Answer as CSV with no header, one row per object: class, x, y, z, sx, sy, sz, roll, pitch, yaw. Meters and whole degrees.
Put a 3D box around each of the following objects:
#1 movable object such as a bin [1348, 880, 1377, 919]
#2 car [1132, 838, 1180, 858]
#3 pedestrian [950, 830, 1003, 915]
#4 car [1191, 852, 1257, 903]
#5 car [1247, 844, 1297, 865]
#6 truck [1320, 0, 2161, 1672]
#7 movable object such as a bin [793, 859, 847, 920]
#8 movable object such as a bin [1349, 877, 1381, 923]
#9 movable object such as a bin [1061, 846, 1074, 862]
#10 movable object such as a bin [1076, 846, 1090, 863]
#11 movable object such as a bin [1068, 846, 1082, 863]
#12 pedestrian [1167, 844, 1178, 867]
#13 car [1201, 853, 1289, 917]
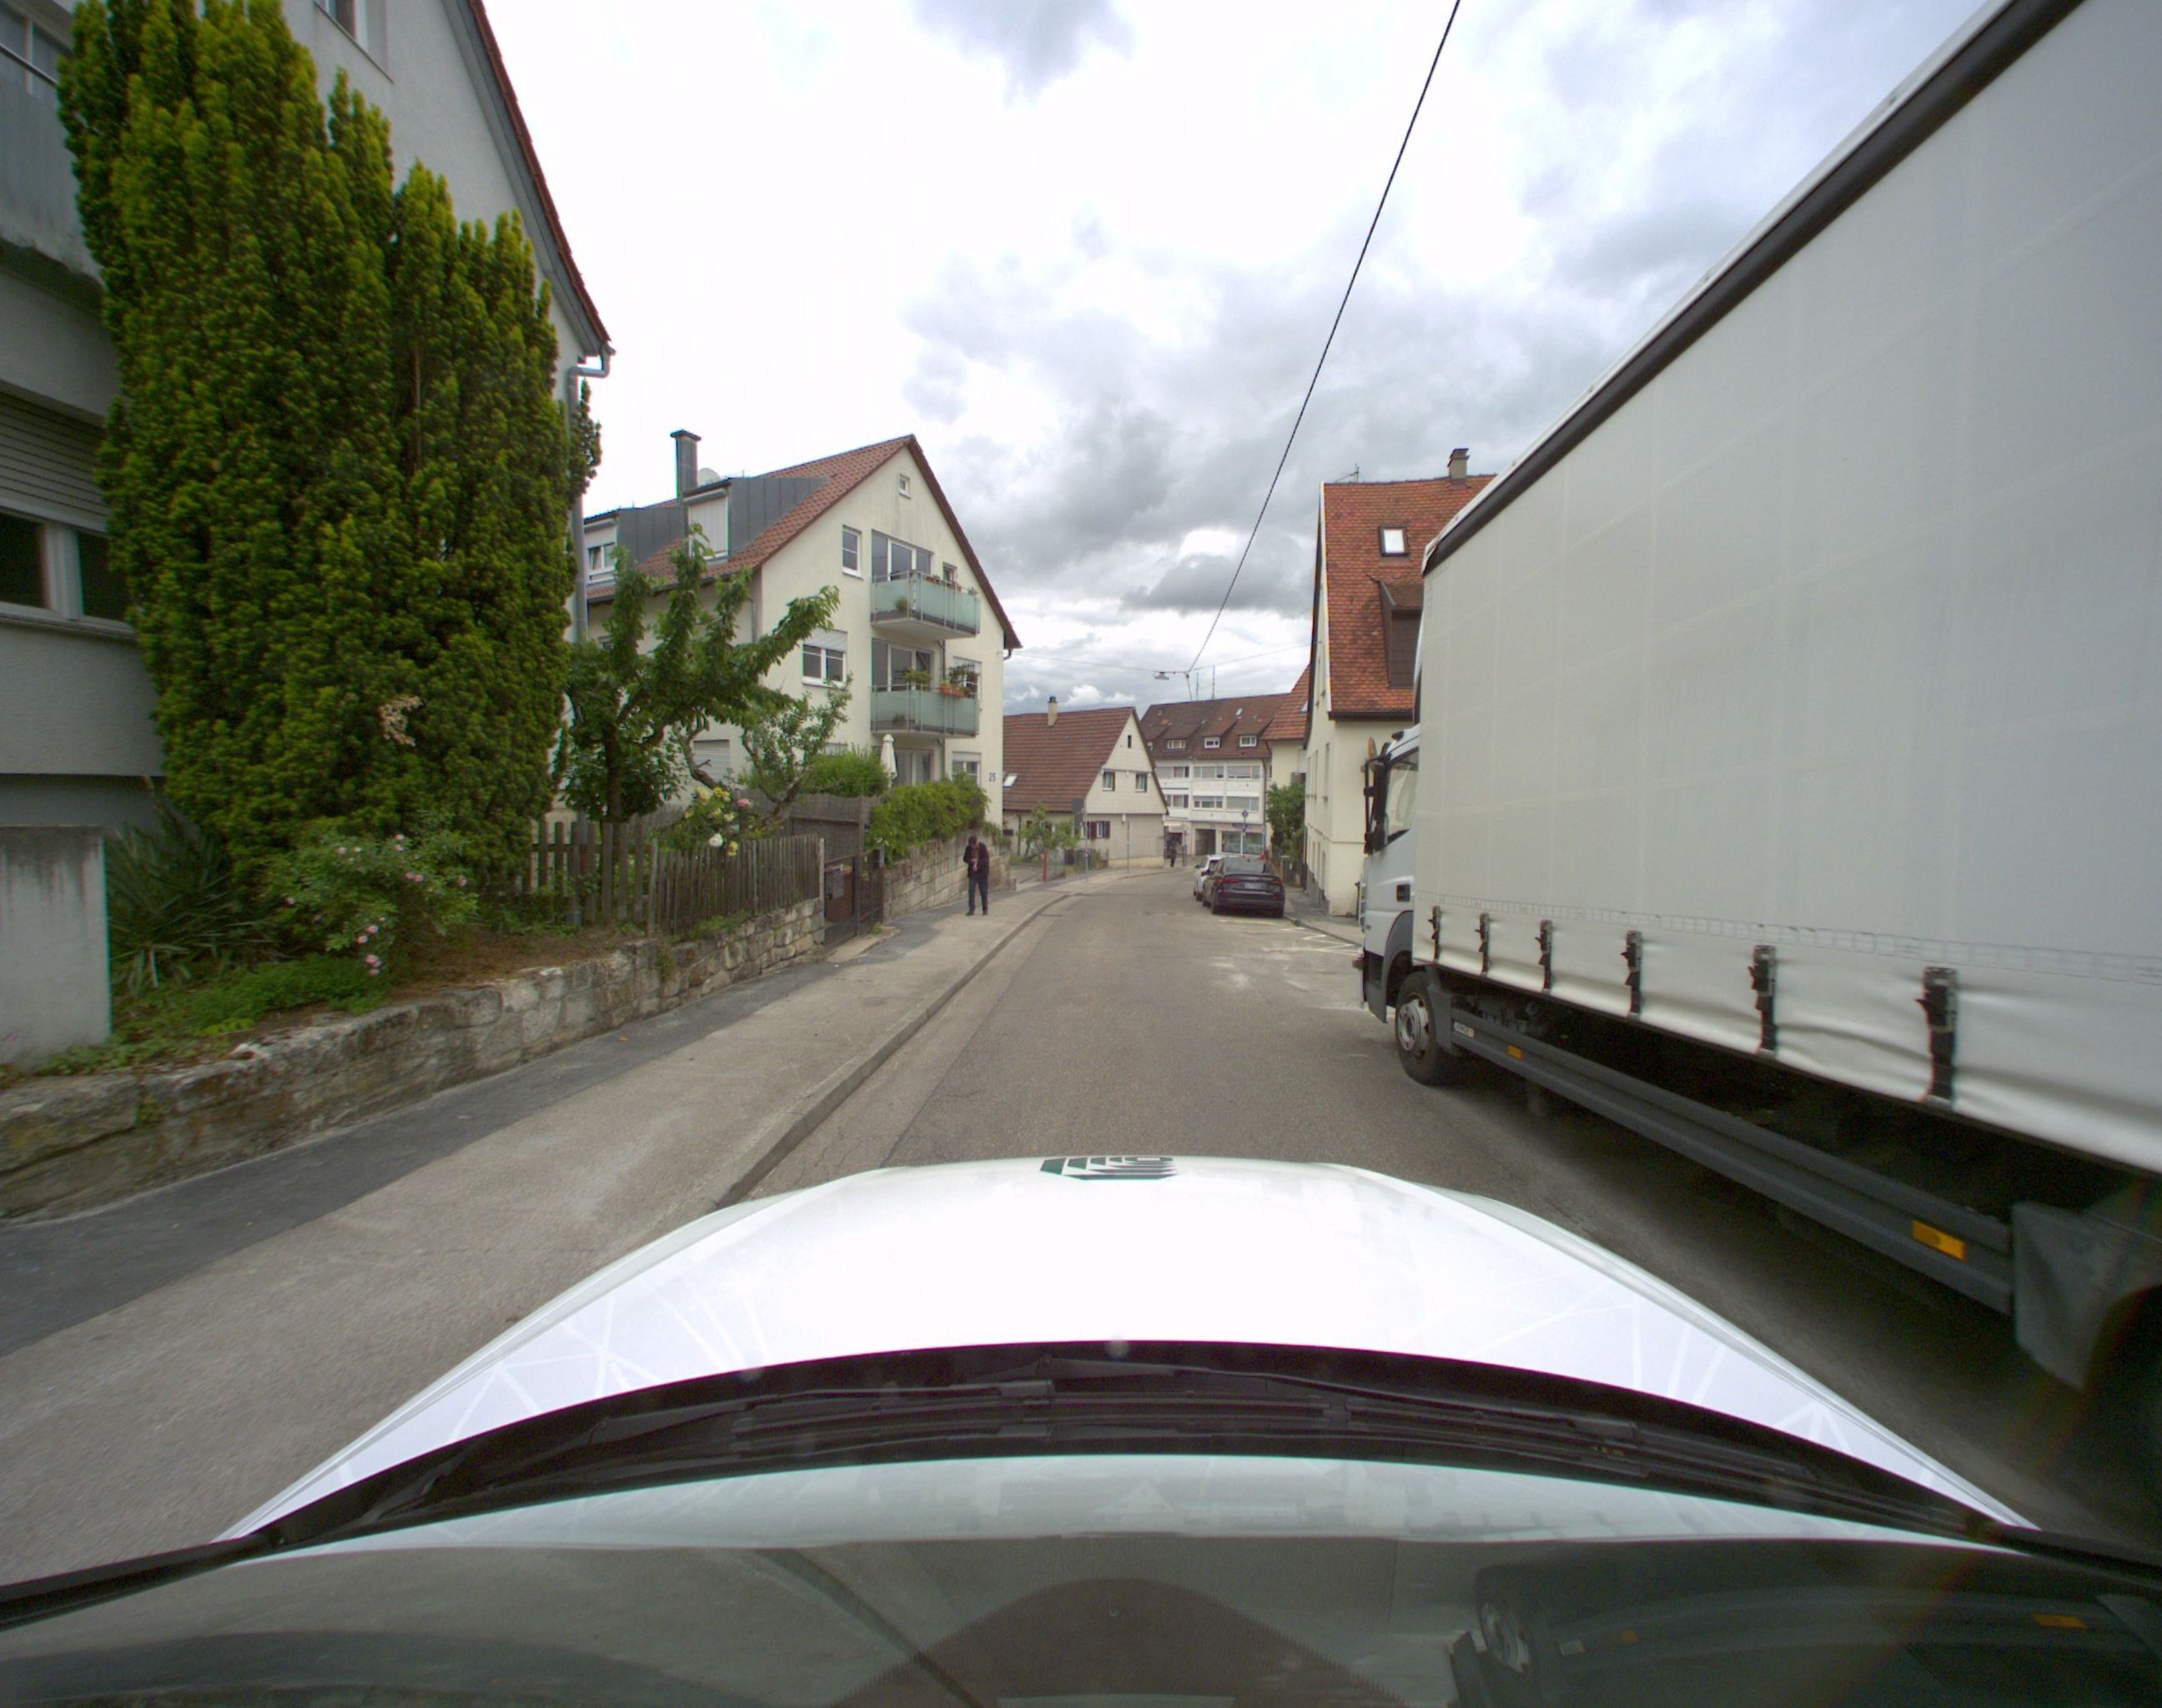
movable object such as a bin,6.500,1.041,18.795,0.436,0.866,0.447,0,2,-38
car,7.056,-0.621,76.836,1.958,1.779,4.317,-1,3,-42
pedestrian,-2.144,0.369,16.861,0.837,1.677,0.977,3,0,2
car,4.593,0.692,26.655,1.786,1.445,4.305,3,0,6
car,15.804,0.004,67.509,1.706,1.556,3.652,0,2,-41
truck,3.363,-0.297,2.978,2.666,3.597,8.108,2,0,1
movable object such as a bin,-4.434,0.588,13.834,0.584,0.931,0.607,6,5,32
movable object such as a bin,5.952,0.950,17.077,0.462,0.917,0.542,-3,-1,3
movable object such as a bin,-0.747,0.006,46.581,0.490,0.877,0.455,6,1,38
movable object such as a bin,0.089,0.039,45.934,0.522,0.884,0.493,6,1,37
movable object such as a bin,-0.346,0.030,46.209,0.522,0.917,0.493,6,1,37
pedestrian,6.911,0.127,61.310,0.646,1.684,0.603,1,2,-7
car,4.168,0.734,21.233,1.666,1.408,4.056,3,0,4
